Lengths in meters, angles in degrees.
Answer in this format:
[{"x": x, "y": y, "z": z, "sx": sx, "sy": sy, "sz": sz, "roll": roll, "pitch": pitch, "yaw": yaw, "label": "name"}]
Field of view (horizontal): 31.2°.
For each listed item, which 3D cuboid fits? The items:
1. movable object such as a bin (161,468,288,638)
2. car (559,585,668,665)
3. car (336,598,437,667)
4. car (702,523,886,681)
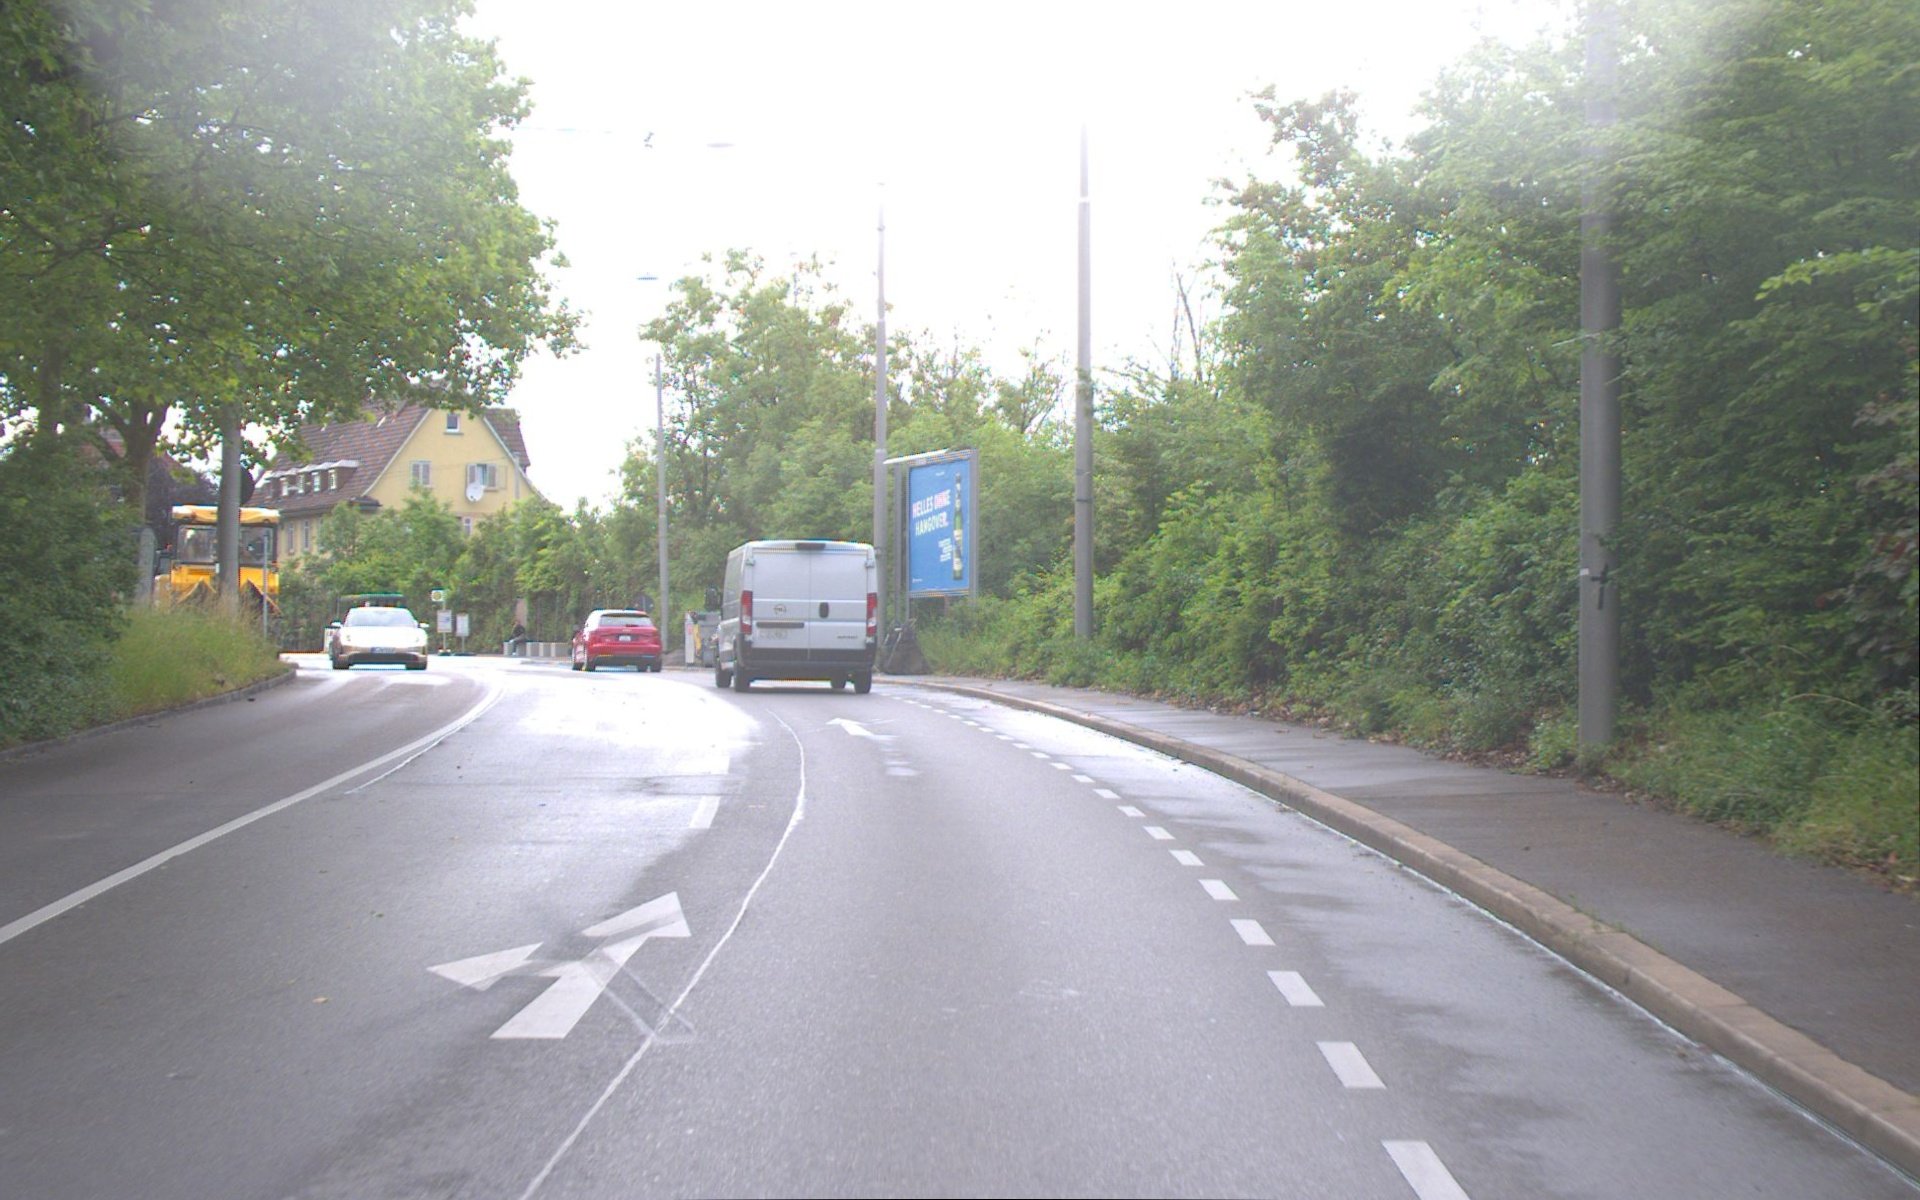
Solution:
[{"x": -17.714, "y": -1.148, "z": 82.923, "sx": 2.773, "sy": 3.842, "sz": 5.989, "roll": 2, "pitch": 1, "yaw": -12, "label": "movable object such as a bin"}, {"x": -8.088, "y": 0.559, "z": 79.916, "sx": 2.237, "sy": 1.651, "sz": 4.714, "roll": 2, "pitch": 1, "yaw": -9, "label": "car"}, {"x": -12.839, "y": 0.702, "z": 76.726, "sx": 2.070, "sy": 1.348, "sz": 4.715, "roll": 2, "pitch": 1, "yaw": -11, "label": "car"}, {"x": -2.571, "y": -0.014, "z": 52.042, "sx": 2.237, "sy": 2.205, "sz": 4.714, "roll": 2, "pitch": 1, "yaw": -8, "label": "car"}]
